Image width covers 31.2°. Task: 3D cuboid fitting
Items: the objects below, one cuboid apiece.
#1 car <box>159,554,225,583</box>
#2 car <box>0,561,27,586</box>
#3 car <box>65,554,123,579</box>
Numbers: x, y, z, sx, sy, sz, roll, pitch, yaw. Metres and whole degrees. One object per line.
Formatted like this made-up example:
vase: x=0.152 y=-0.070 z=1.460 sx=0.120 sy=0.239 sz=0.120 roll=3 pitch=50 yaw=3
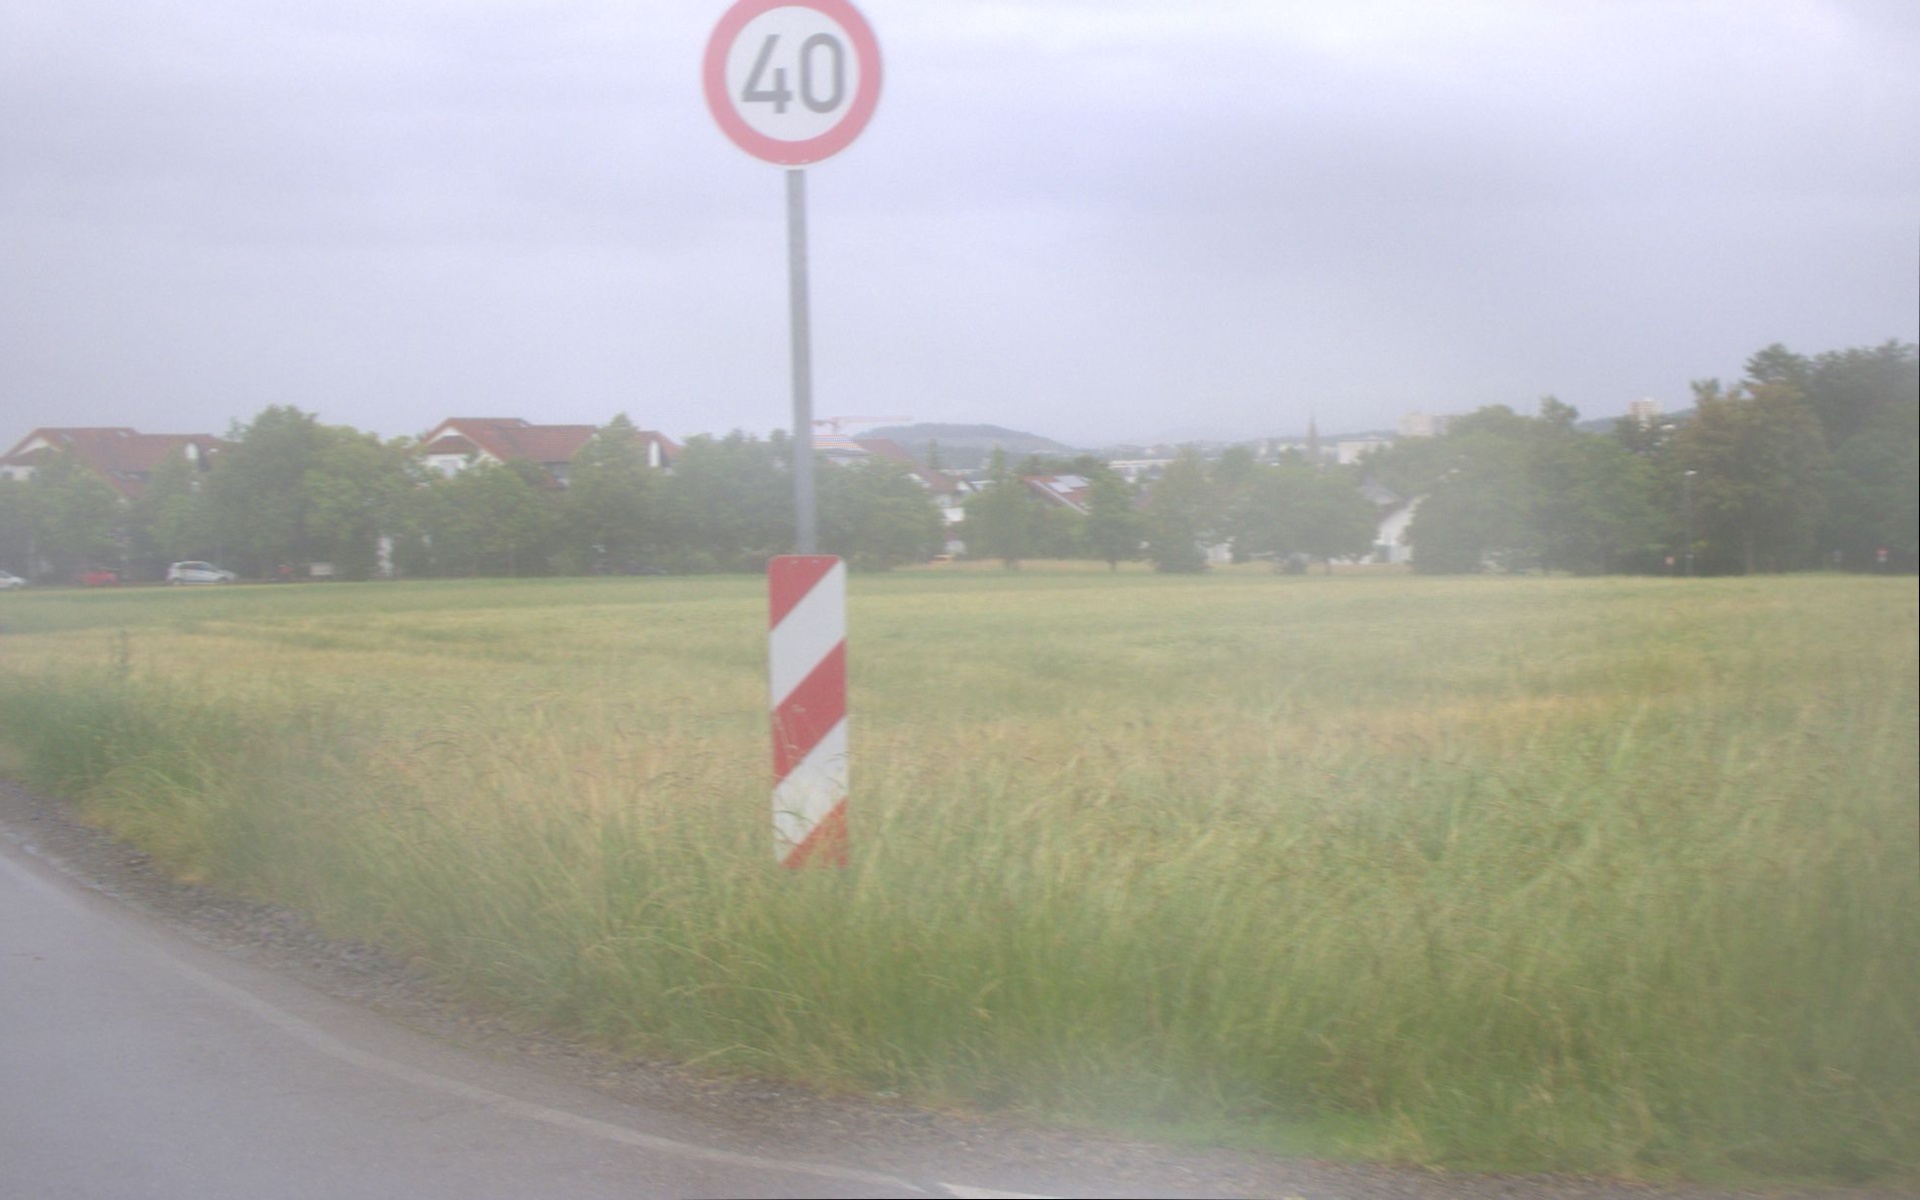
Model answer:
car: x=-46.776 y=-1.935 z=209.381 sx=3.709 sy=1.558 sz=1.611 roll=-3 pitch=0 yaw=-7
car: x=-58.242 y=-1.557 z=207.617 sx=3.389 sy=1.366 sz=1.548 roll=-3 pitch=0 yaw=-7
car: x=-52.517 y=-2.015 z=208.435 sx=3.192 sy=1.366 sz=1.572 roll=-3 pitch=0 yaw=-7
